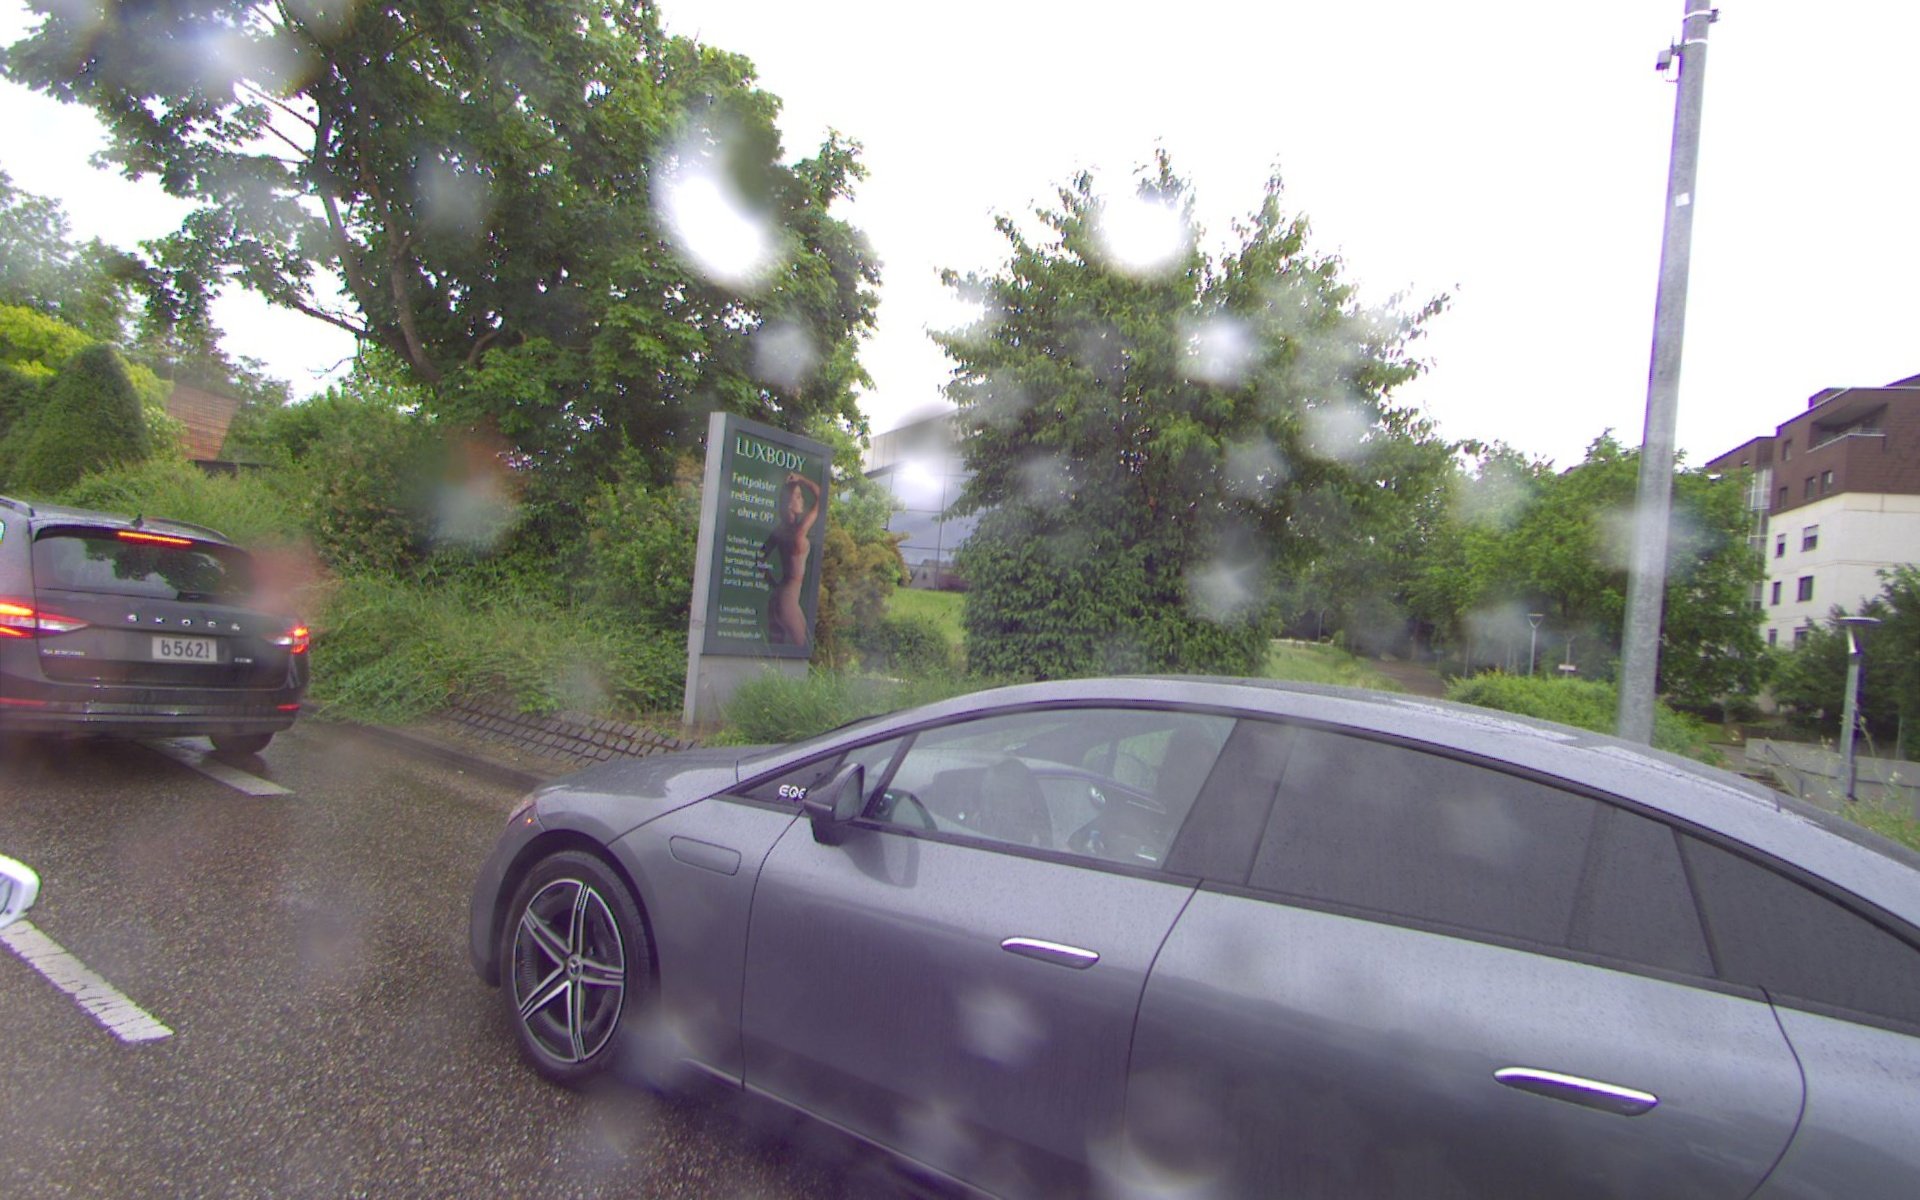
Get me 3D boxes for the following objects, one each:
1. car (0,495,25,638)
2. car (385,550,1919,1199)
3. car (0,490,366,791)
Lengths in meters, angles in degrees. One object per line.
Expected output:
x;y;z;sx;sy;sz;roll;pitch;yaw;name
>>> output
-12.117;-0.652;10.836;4.048;1.483;1.842;7;-2;31;car
0.652;0.921;2.922;4.728;1.483;1.842;7;-2;31;car
-6.120;0.073;6.762;4.279;1.483;1.841;7;-2;33;car
